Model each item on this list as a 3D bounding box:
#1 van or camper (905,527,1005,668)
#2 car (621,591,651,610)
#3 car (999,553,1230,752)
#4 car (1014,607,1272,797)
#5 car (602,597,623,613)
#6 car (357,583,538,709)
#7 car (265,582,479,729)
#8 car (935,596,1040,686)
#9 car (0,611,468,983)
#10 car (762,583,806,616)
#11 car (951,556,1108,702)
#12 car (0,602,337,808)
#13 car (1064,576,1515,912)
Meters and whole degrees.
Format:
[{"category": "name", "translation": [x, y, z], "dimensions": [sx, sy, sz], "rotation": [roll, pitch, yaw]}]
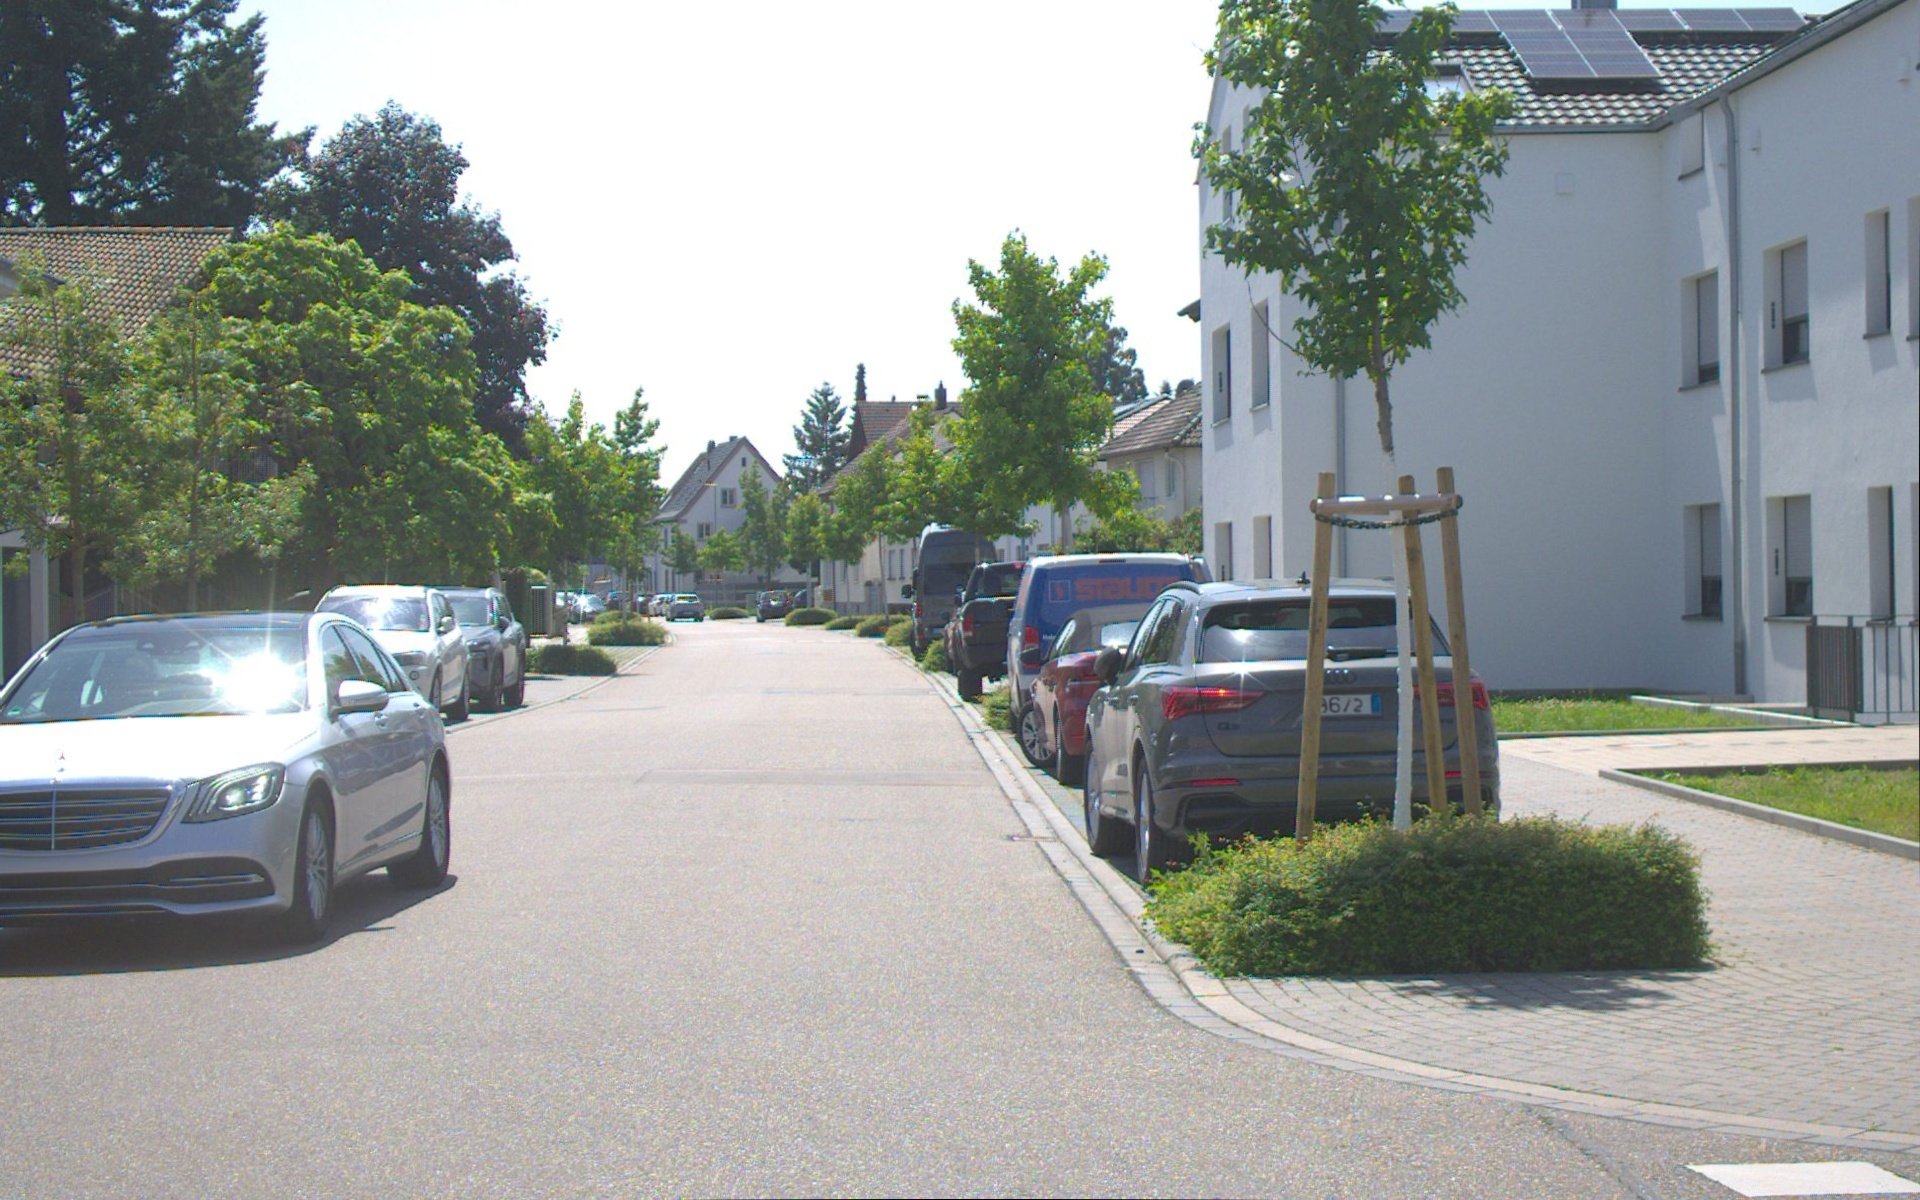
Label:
[{"category": "van or camper", "translation": [-0.138, -0.059, 74.459], "dimensions": [1.993, 2.931, 4.000], "rotation": [-1, 0, -2]}, {"category": "car", "translation": [-21.565, 0.038, 228.887], "dimensions": [1.662, 1.246, 3.933], "rotation": [-1, 0, -10]}, {"category": "car", "translation": [1.506, 0.496, 35.302], "dimensions": [2.099, 1.875, 4.843], "rotation": [-1, 0, 0]}, {"category": "car", "translation": [1.457, 0.798, 28.775], "dimensions": [1.679, 1.437, 4.027], "rotation": [-1, 0, -4]}, {"category": "car", "translation": [-24.042, 0.356, 237.557], "dimensions": [1.188, 1.067, 3.054], "rotation": [-1, 0, -11]}, {"category": "car", "translation": [-7.179, 0.612, 48.521], "dimensions": [1.993, 1.674, 4.214], "rotation": [-1, 0, -1]}, {"category": "car", "translation": [-7.133, 0.635, 42.114], "dimensions": [1.927, 1.681, 4.498], "rotation": [-1, 0, -1]}, {"category": "car", "translation": [0.484, 0.748, 63.932], "dimensions": [1.670, 1.590, 3.556], "rotation": [-1, 0, -4]}, {"category": "car", "translation": [-3.705, 0.835, 16.568], "dimensions": [1.853, 1.473, 4.700], "rotation": [-2, 0, 1]}, {"category": "car", "translation": [-8.634, -0.016, 168.616], "dimensions": [1.993, 1.568, 4.000], "rotation": [-1, 0, -1]}, {"category": "car", "translation": [0.944, 0.396, 49.662], "dimensions": [1.993, 1.940, 5.215], "rotation": [-2, 0, -1]}, {"category": "car", "translation": [-6.256, 0.772, 27.404], "dimensions": [1.852, 1.483, 4.385], "rotation": [-1, 0, -1]}, {"category": "car", "translation": [1.663, 0.691, 18.788], "dimensions": [1.773, 1.590, 4.279], "rotation": [-1, 0, -4]}]
